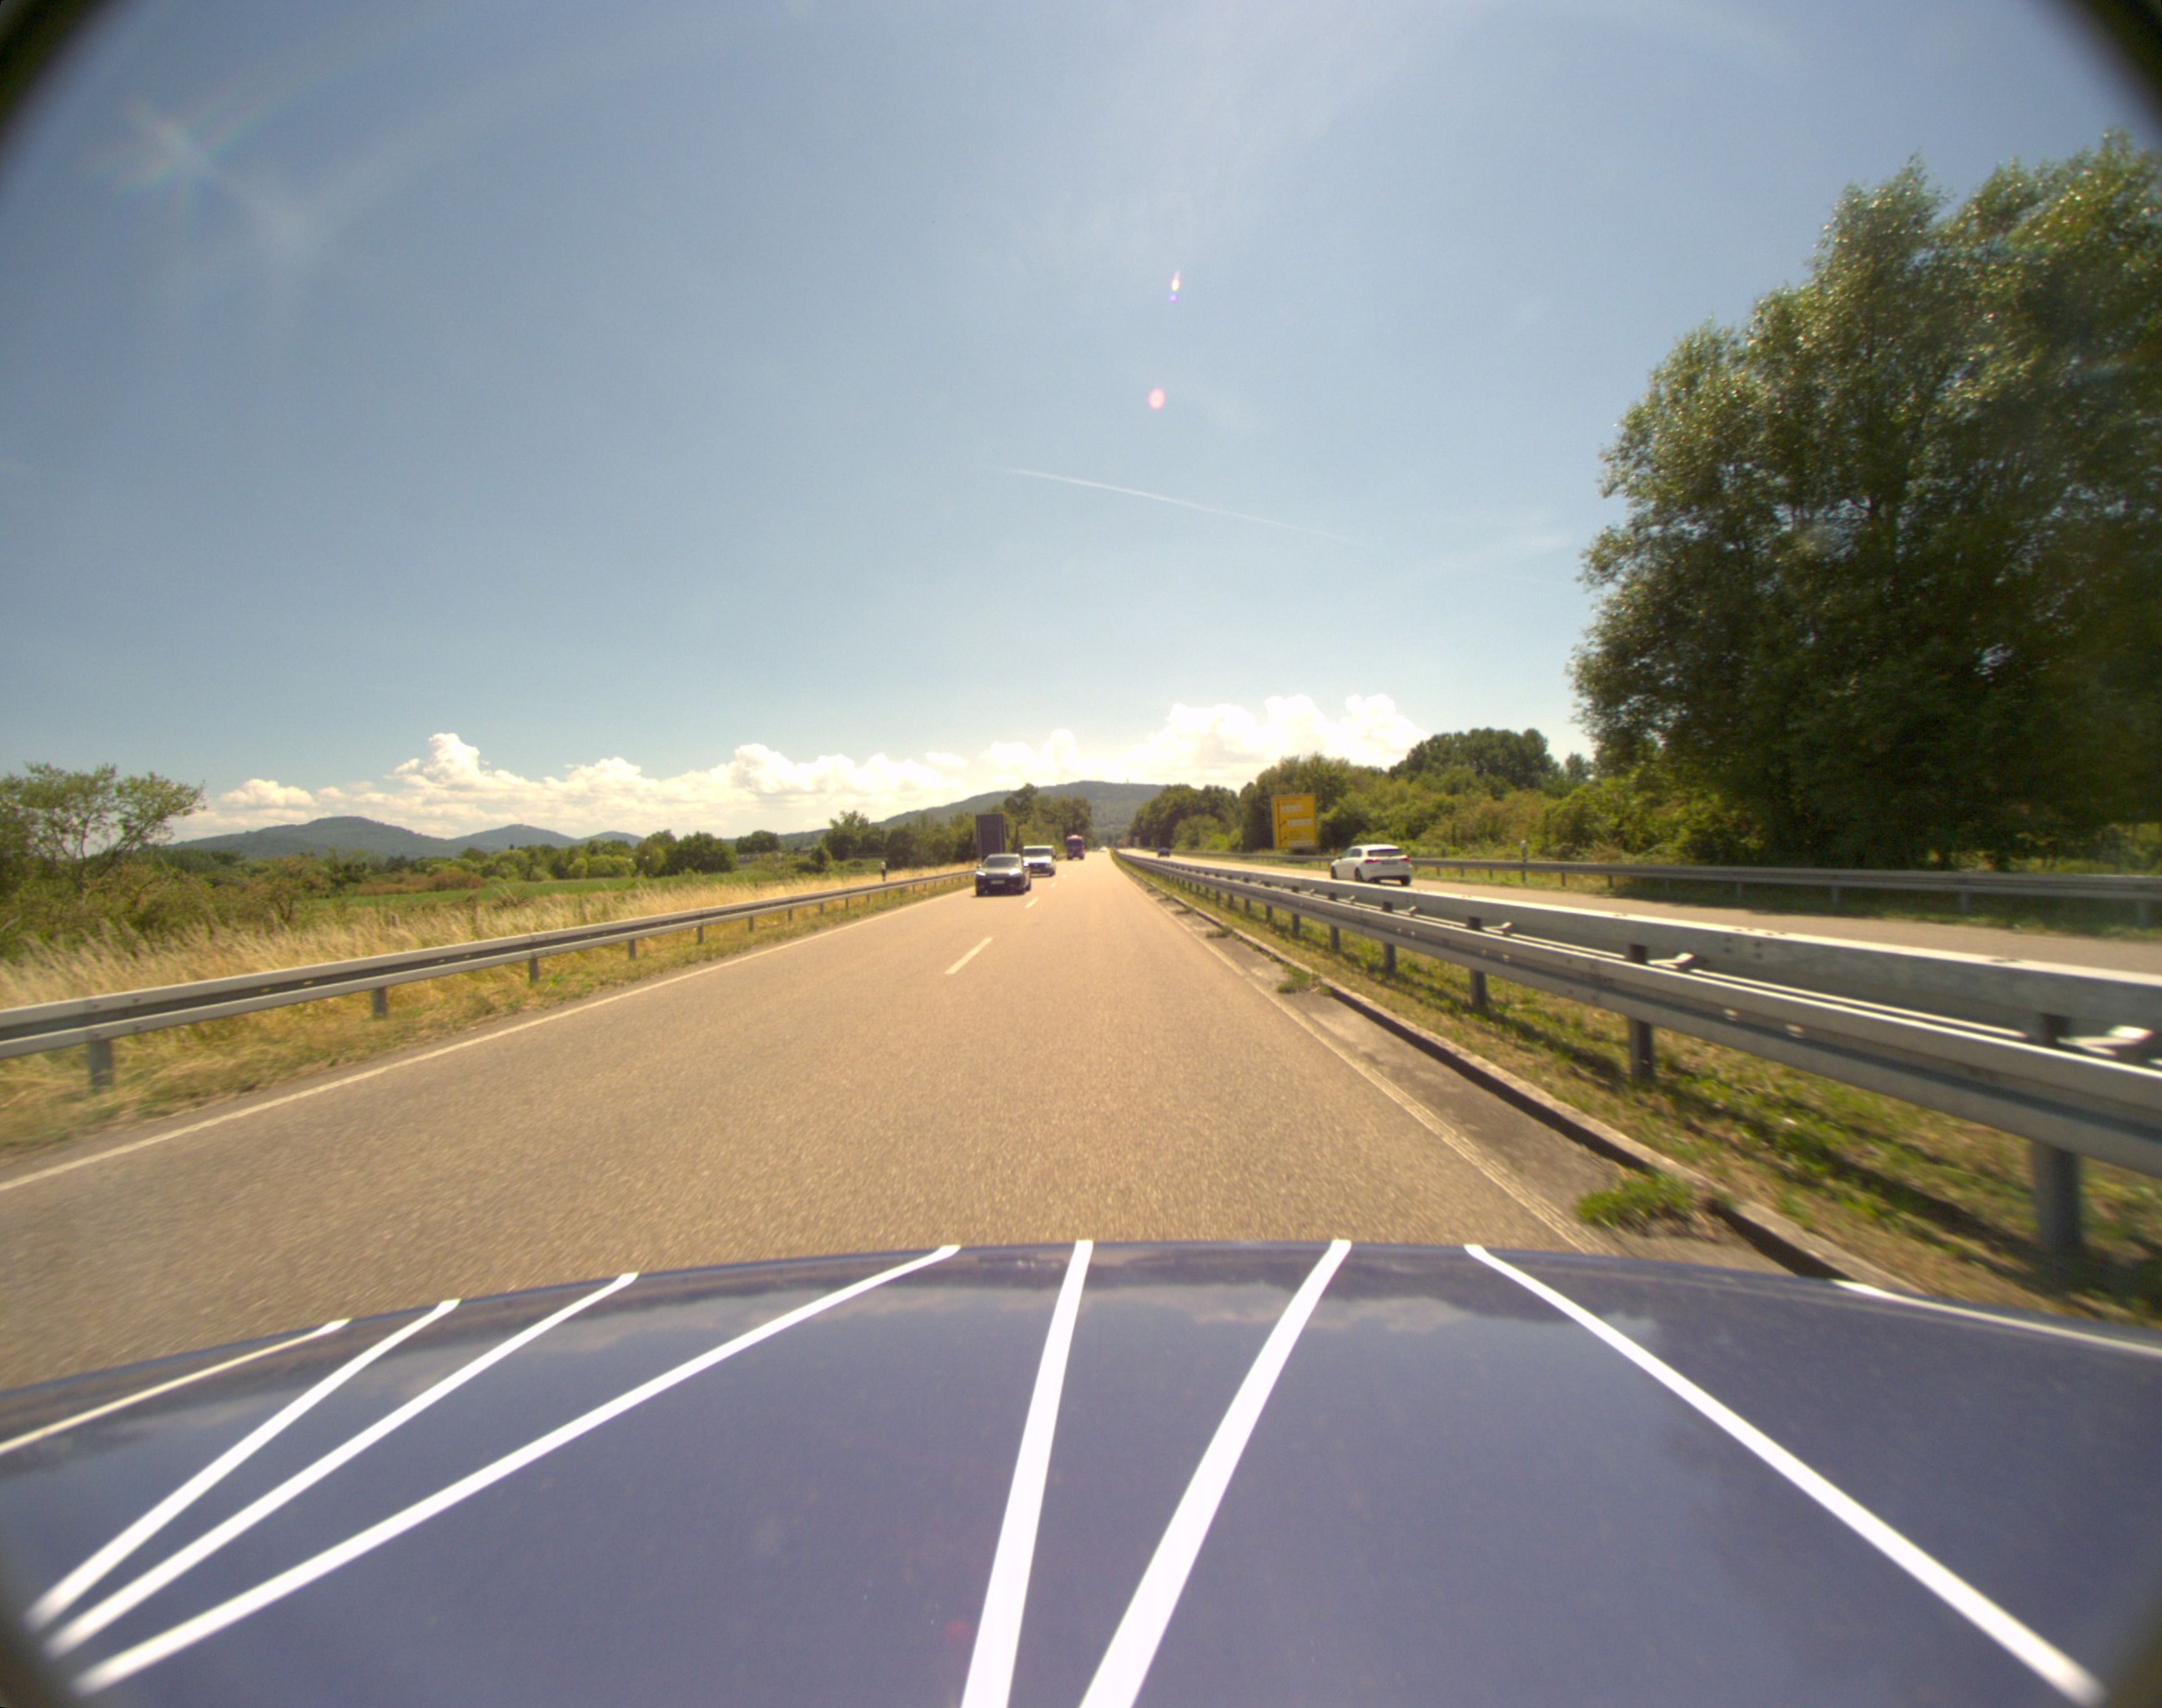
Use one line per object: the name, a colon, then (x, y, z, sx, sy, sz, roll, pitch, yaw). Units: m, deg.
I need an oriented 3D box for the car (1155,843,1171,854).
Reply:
car: (12.750, -0.850, 118.197, 1.998, 1.627, 4.873, -5, 0, 2)

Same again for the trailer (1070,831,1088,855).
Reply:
trailer: (-0.280, -1.706, 124.103, 2.604, 3.608, 8.614, -2, 0, 2)

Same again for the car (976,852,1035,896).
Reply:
car: (-2.858, 0.723, 29.524, 1.789, 1.544, 4.019, -1, 0, 1)

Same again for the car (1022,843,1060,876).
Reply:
car: (-2.523, 0.325, 49.144, 2.011, 1.977, 5.034, -3, 0, 1)

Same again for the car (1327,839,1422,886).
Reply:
car: (10.500, 0.266, 27.511, 1.831, 1.489, 4.102, -3, 1, 1)

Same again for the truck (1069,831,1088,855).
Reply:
truck: (-0.390, -1.702, 119.664, 2.604, 3.670, 5.939, -2, 0, 2)
